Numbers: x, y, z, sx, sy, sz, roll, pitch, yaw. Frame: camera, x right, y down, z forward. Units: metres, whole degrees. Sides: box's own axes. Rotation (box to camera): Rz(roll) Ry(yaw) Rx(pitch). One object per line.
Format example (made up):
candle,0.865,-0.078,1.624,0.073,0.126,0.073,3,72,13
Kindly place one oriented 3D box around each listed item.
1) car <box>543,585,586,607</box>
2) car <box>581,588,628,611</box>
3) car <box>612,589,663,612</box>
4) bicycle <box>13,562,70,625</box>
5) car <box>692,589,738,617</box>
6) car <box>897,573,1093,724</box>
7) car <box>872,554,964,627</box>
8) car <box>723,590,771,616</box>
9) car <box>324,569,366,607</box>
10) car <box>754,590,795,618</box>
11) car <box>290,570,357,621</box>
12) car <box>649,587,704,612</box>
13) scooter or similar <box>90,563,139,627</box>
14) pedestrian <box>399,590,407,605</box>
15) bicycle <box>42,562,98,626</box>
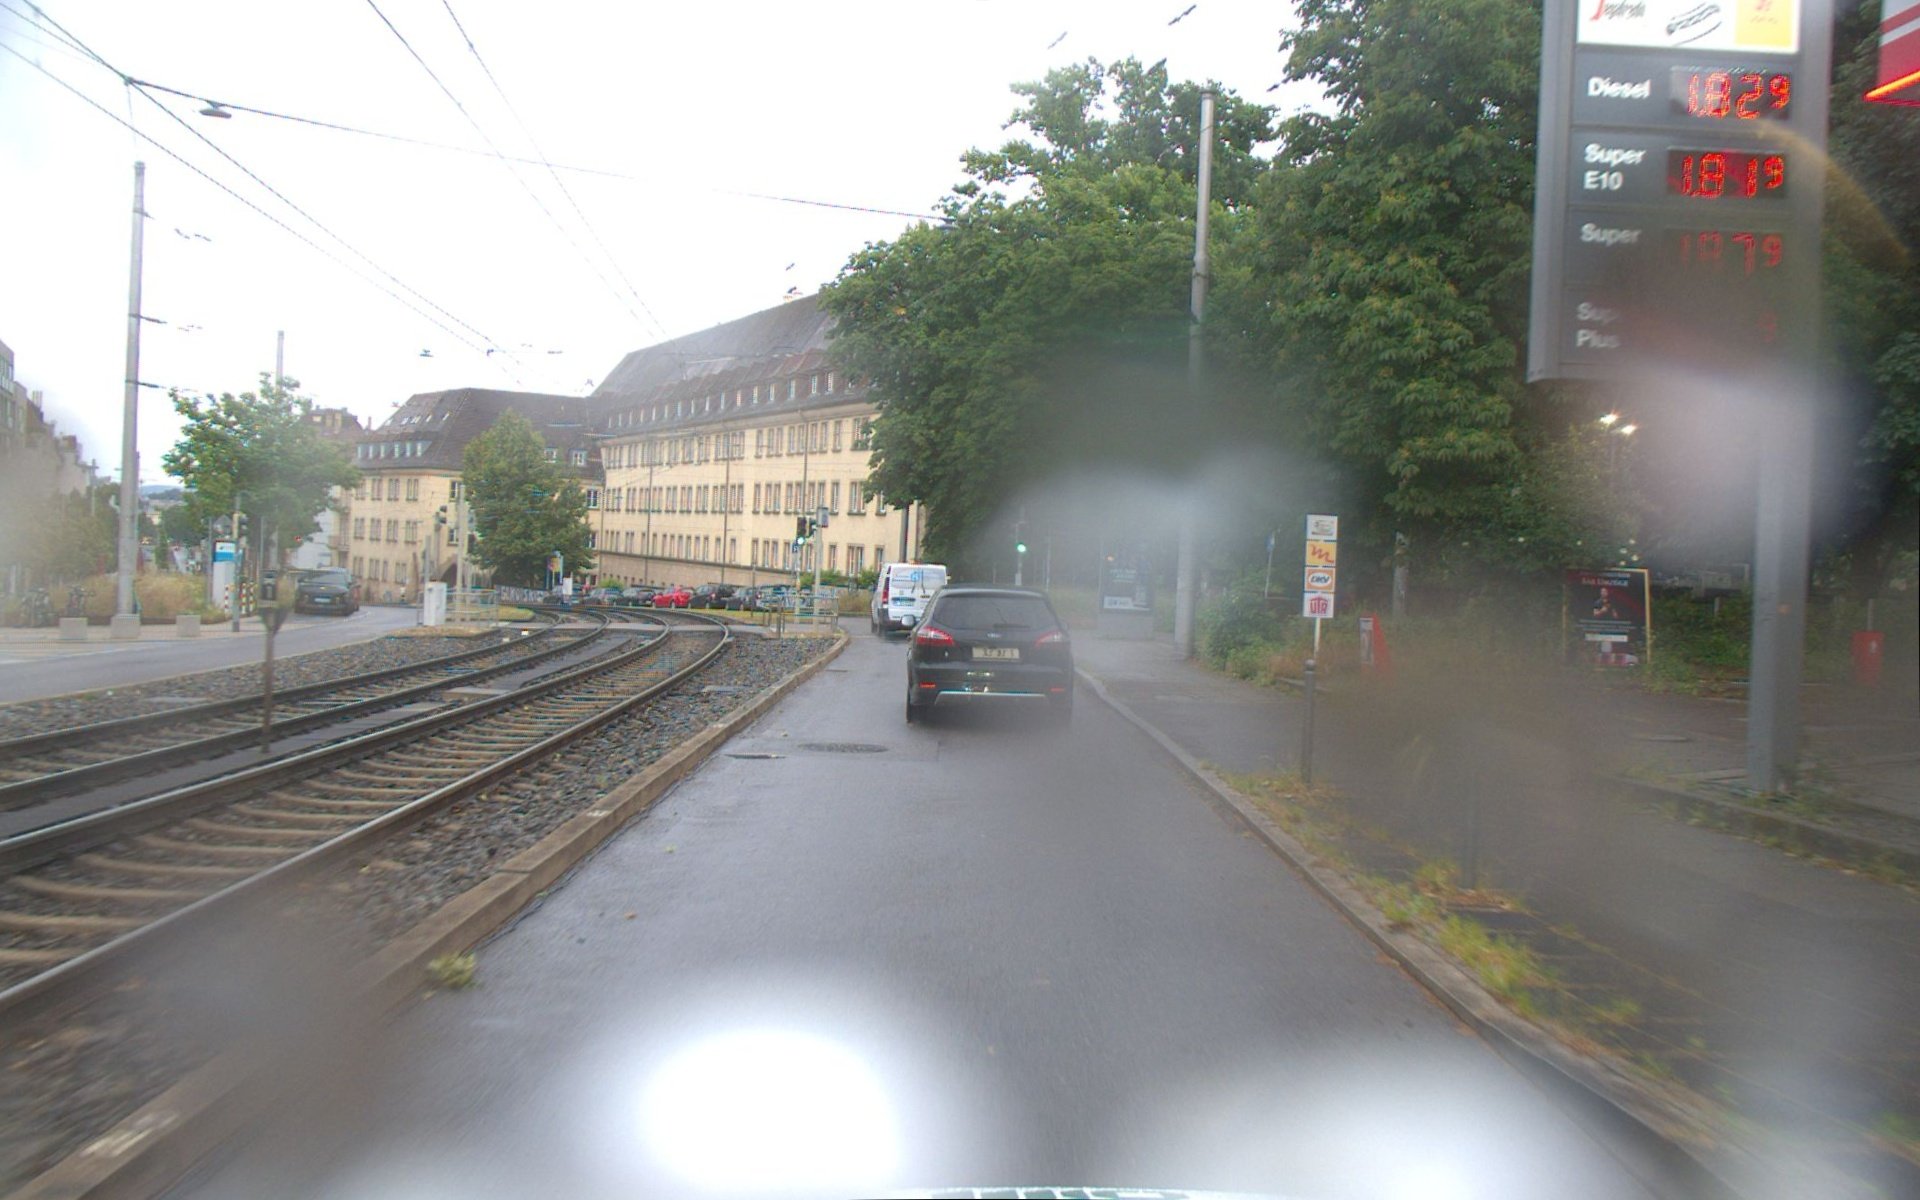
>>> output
car,-27.628,-0.288,115.533,1.650,1.551,4.061,0,0,-33
car,-23.851,-0.036,110.879,1.652,1.502,4.056,0,0,-36
car,-20.697,0.020,106.057,1.650,1.502,4.406,0,0,-33
bicycle,-24.315,-0.172,43.820,0.663,1.624,2.353,1,0,-13
car,-14.423,0.159,97.195,1.645,1.600,3.823,0,0,-26
car,0.281,0.475,18.662,1.882,1.505,3.997,1,0,-3
car,-1.146,-0.248,43.069,2.095,1.776,4.213,1,0,-6
car,-11.872,0.158,92.181,1.518,1.441,3.610,0,0,-28
car,-27.418,-0.532,73.777,1.445,1.558,2.918,3,-1,-16
car,-9.931,0.203,88.499,1.574,1.491,2.704,0,0,-20
car,-22.743,-0.145,59.229,1.964,1.633,4.191,4,-2,-19
car,-17.471,-0.025,101.794,1.653,1.502,4.012,2,-1,-37
scooter or similar,-22.398,-0.130,43.847,0.589,1.624,2.353,1,0,-13
pedestrian,-50.940,-0.241,151.262,0.500,1.338,0.504,1,-1,-37
bicycle,-23.446,-0.160,43.623,0.663,1.624,2.353,1,0,-13
